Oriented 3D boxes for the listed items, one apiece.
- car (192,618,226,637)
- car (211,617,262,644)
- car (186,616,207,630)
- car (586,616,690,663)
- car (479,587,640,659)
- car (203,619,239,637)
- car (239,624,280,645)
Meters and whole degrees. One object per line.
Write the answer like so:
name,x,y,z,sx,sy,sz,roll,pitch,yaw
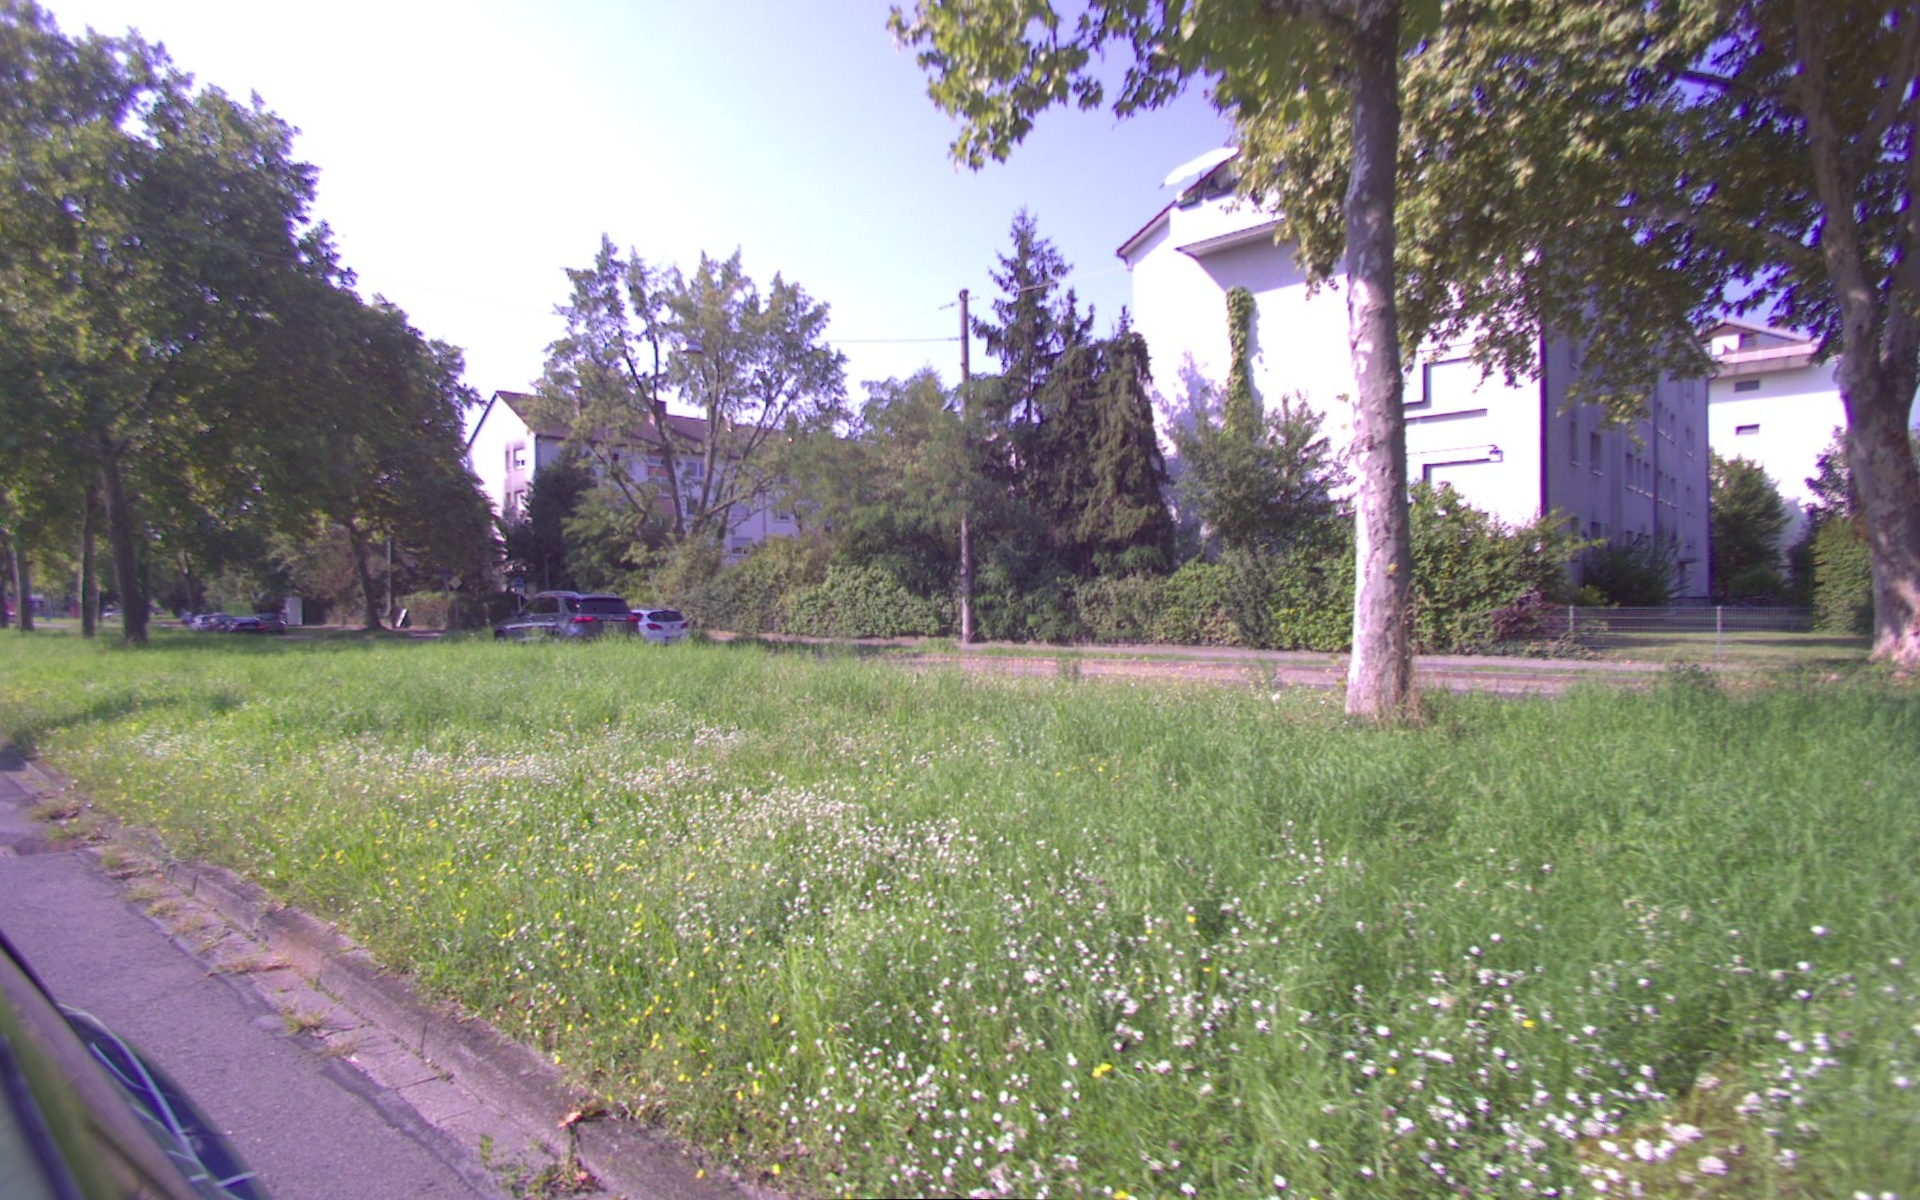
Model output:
car,-59.107,2.149,79.671,3.523,1.417,1.591,-1,-1,44
car,-42.558,1.786,59.516,3.897,1.490,1.628,-1,0,41
car,-92.803,2.781,123.022,1.625,1.684,3.738,0,-1,-43
car,-11.127,1.310,34.870,3.897,1.490,1.628,-1,0,41
car,-10.186,0.541,25.546,4.855,1.629,1.756,-1,0,41
car,-55.572,2.090,76.081,3.523,1.301,1.591,-1,0,44
car,-47.106,2.302,68.019,3.523,1.301,1.591,-1,0,44
